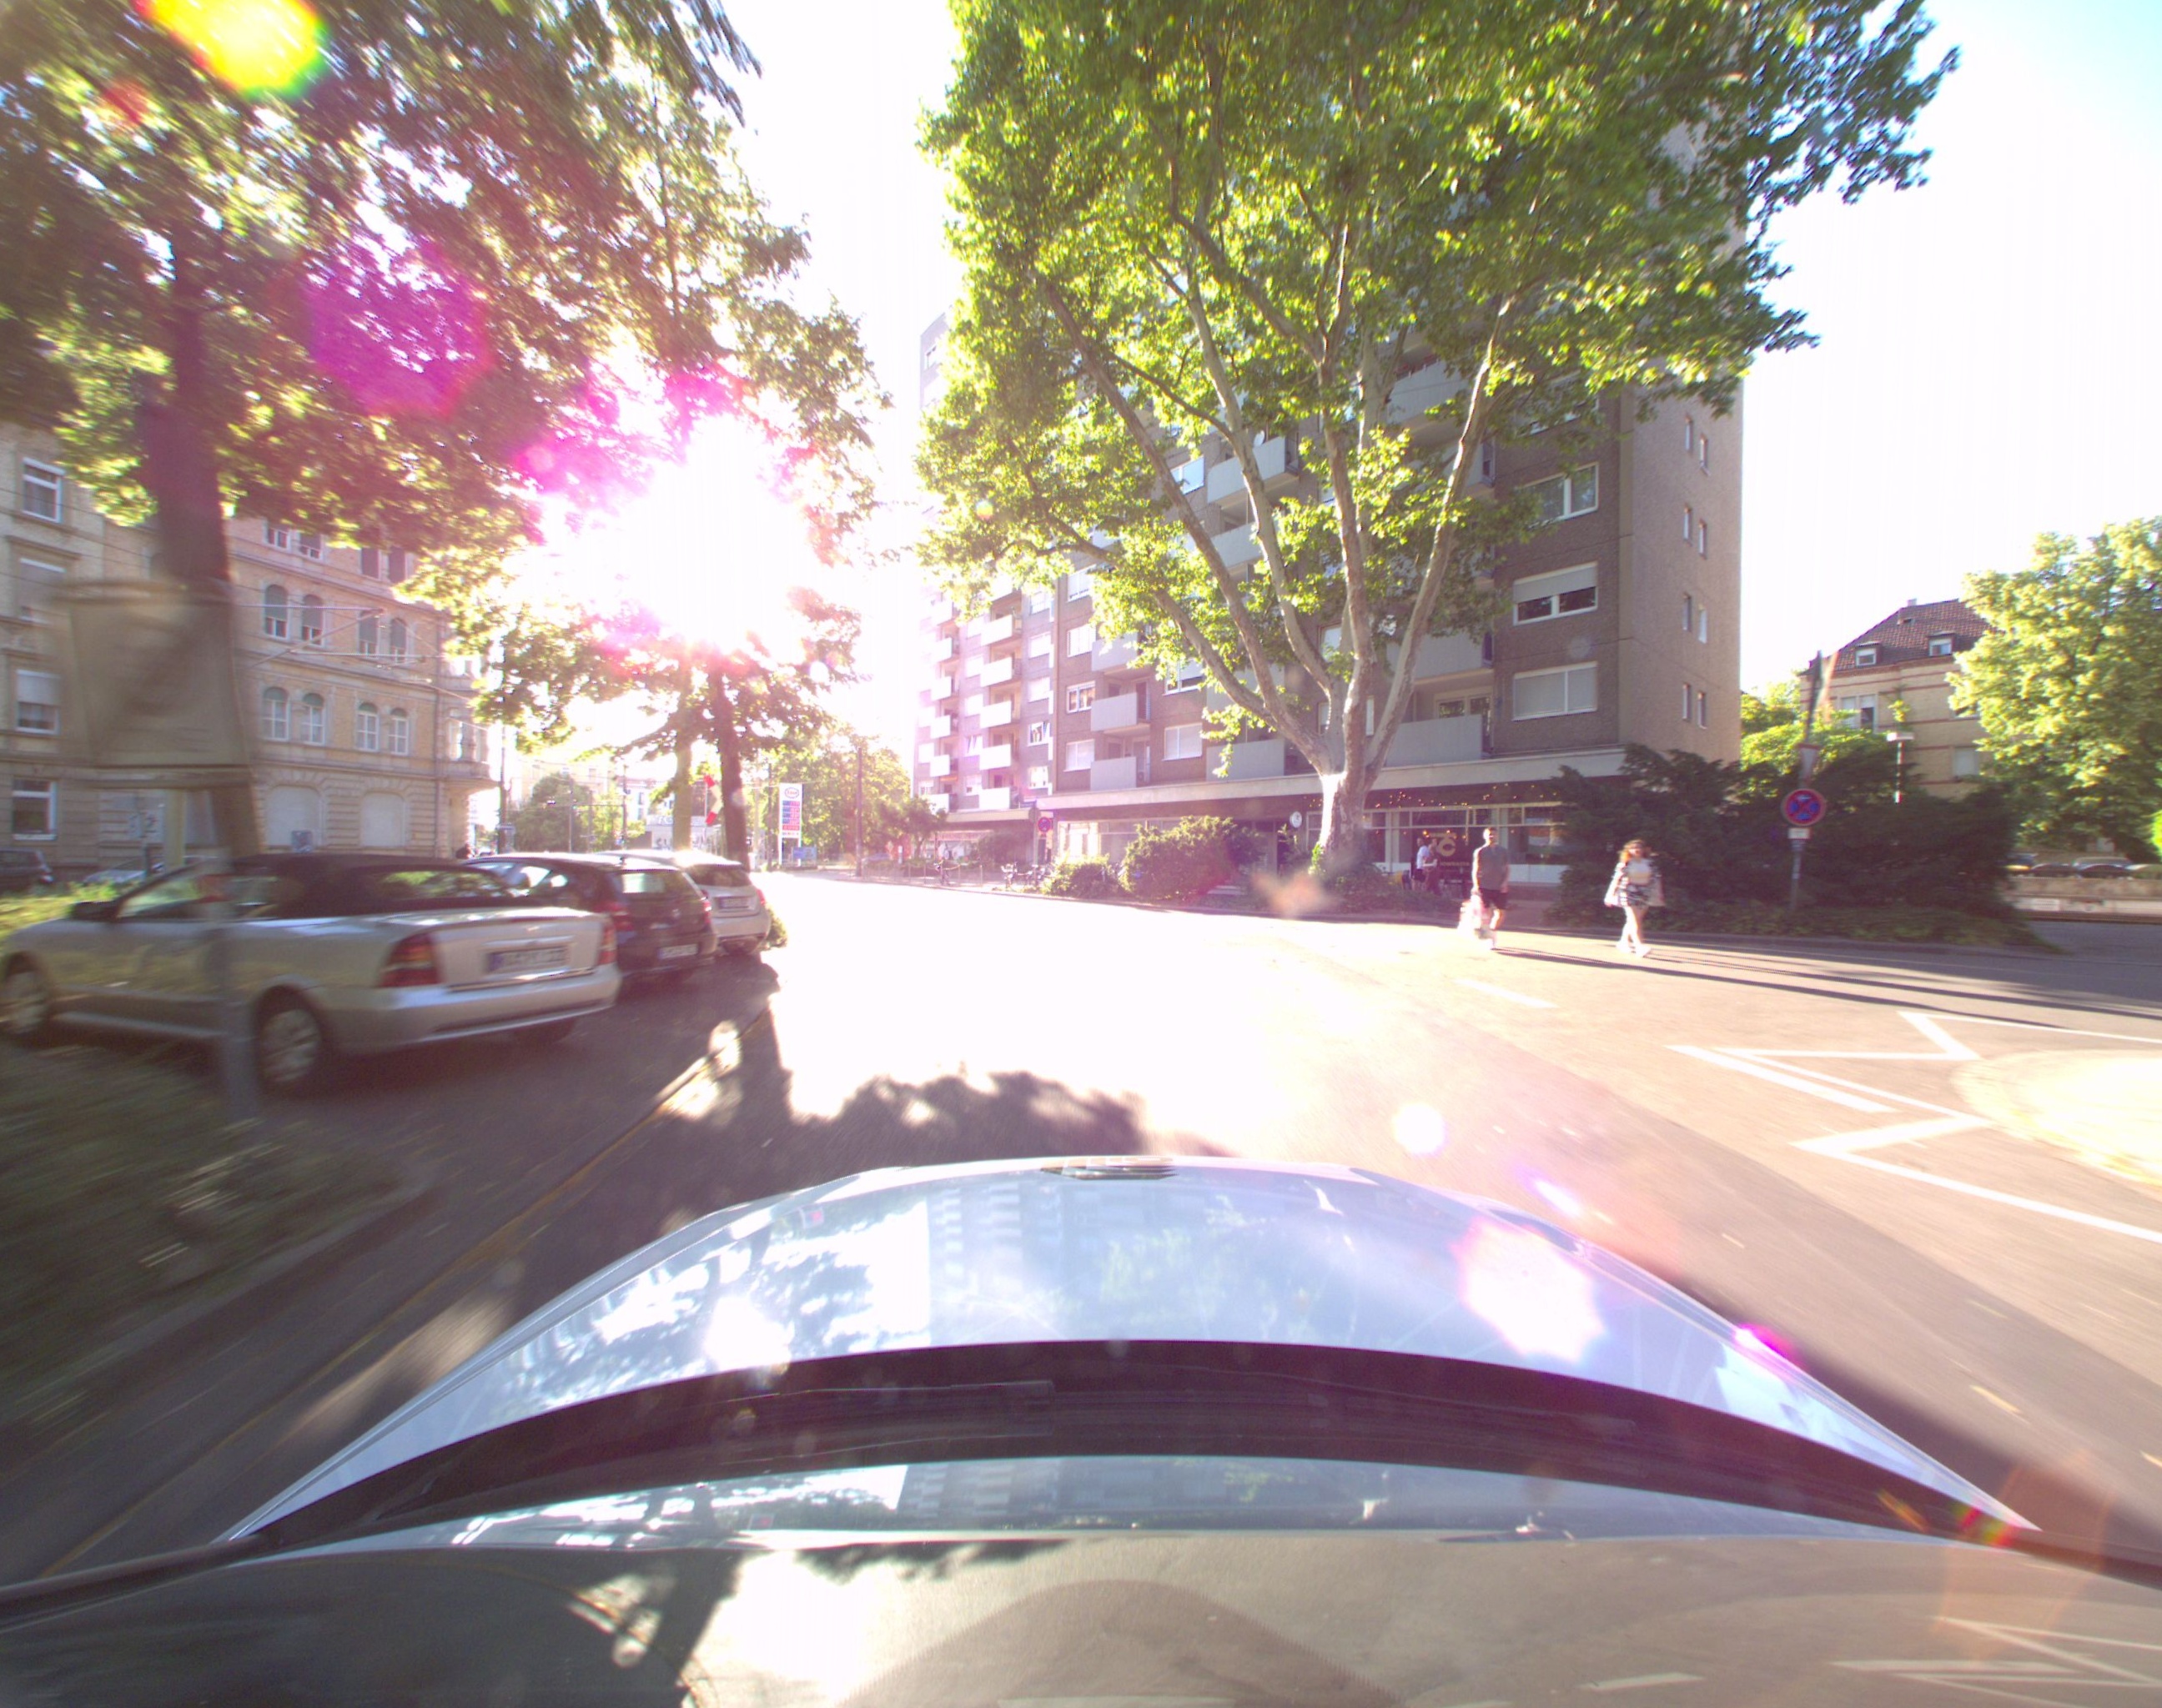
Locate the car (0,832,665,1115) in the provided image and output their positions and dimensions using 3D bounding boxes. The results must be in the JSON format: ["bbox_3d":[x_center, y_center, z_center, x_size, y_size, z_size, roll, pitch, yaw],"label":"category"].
[{"bbox_3d":[-5.313,0.643,5.829,3.942,1.365,1.782,3,0,17],"label":"car"}]

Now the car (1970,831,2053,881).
[{"bbox_3d":[39.710,0.074,34.849,1.975,2.013,4.024,0,0,43],"label":"car"}]

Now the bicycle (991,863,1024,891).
[{"bbox_3d":[-2.870,0.870,31.610,0.641,1.022,2.071,0,0,-24],"label":"bicycle"}]

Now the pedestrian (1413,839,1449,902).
[{"bbox_3d":[9.499,0.437,22.085,0.689,1.692,0.637,0,0,-37],"label":"pedestrian"}]

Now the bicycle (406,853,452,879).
[{"bbox_3d":[-31.534,0.561,39.417,0.498,1.206,1.797,3,0,10],"label":"bicycle"}]

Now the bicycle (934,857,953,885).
[{"bbox_3d":[-6.433,0.767,38.008,0.640,1.226,2.076,0,0,-16],"label":"bicycle"}]

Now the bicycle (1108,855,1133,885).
[{"bbox_3d":[1.420,0.567,29.093,0.350,1.038,1.041,0,0,-33],"label":"bicycle"}]

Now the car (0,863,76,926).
[{"bbox_3d":[-29.861,1.110,21.479,1.845,1.563,3.870,3,1,-1],"label":"car"}]

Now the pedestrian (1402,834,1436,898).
[{"bbox_3d":[9.549,0.333,22.996,0.689,1.773,0.629,0,0,-37],"label":"pedestrian"}]

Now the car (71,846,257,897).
[{"bbox_3d":[-29.293,0.501,26.178,1.841,1.428,3.502,3,1,7],"label":"car"}]

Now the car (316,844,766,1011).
[{"bbox_3d":[-5.700,0.665,8.728,3.997,1.406,1.782,2,0,16],"label":"car"}]

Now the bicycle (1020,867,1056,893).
[{"bbox_3d":[-1.579,0.951,29.941,0.546,0.904,1.718,0,0,-33],"label":"bicycle"}]

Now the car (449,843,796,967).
[{"bbox_3d":[-6.410,0.623,11.461,4.246,1.429,1.782,2,0,18],"label":"car"}]

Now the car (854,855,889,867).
[{"bbox_3d":[-25.847,0.859,100.671,4.004,1.453,1.796,0,0,-23],"label":"car"}]

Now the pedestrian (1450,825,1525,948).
[{"bbox_3d":[6.084,0.471,12.233,0.808,1.781,0.717,0,0,6],"label":"pedestrian"}]

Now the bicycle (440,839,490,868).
[{"bbox_3d":[-30.026,-0.005,39.762,0.498,1.133,2.127,6,-5,5],"label":"bicycle"}]

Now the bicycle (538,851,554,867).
[{"bbox_3d":[-58.254,0.535,88.674,1.359,1.806,0.563,0,0,-22],"label":"bicycle"}]

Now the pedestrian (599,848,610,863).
[{"bbox_3d":[-53.380,0.167,91.241,0.933,1.692,0.769,0,0,-38],"label":"pedestrian"}]

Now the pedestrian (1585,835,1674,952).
[{"bbox_3d":[7.766,0.546,11.557,0.808,1.608,0.717,0,0,6],"label":"pedestrian"}]

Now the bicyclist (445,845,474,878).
[{"bbox_3d":[-30.048,0.369,39.393,0.589,1.492,0.703,5,-5,5],"label":"bicyclist"}]
